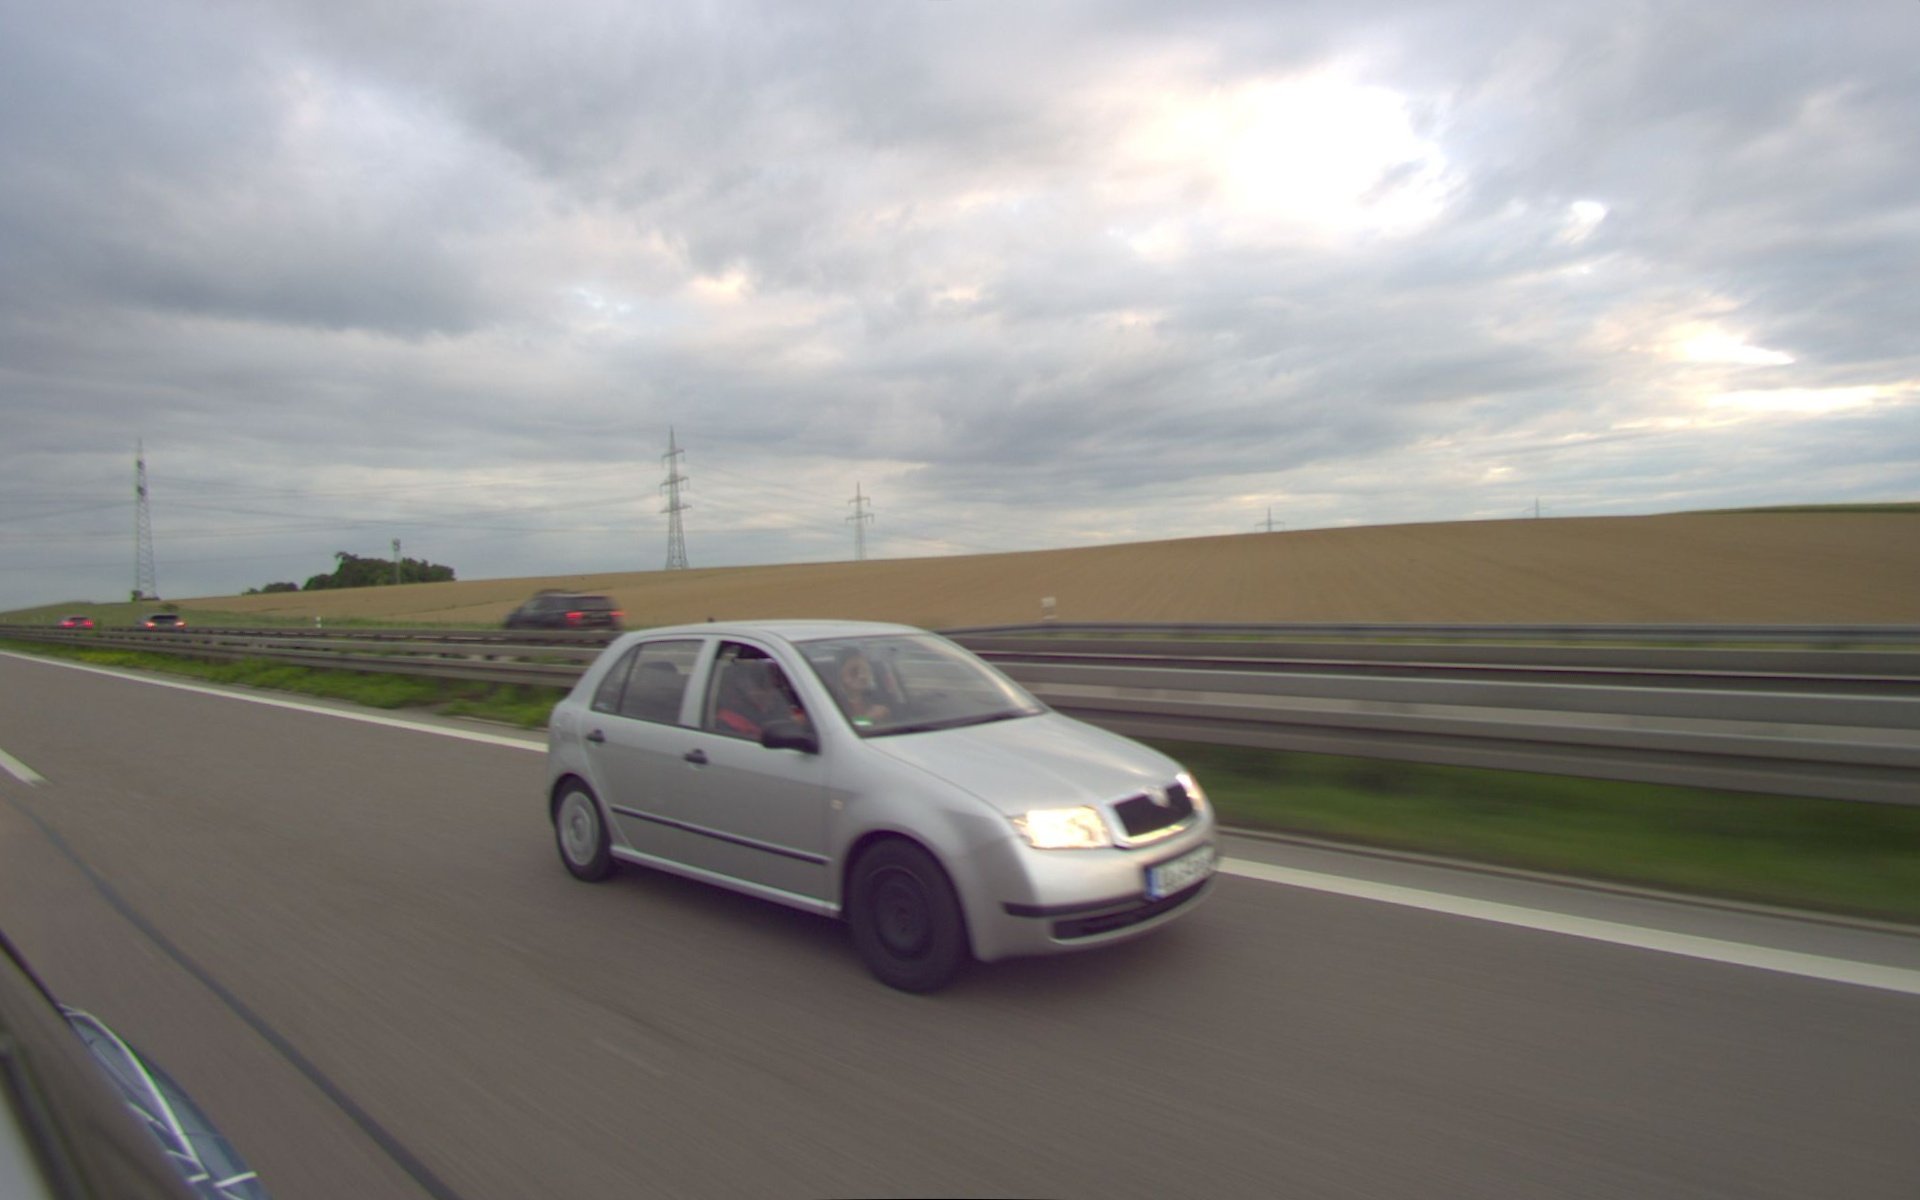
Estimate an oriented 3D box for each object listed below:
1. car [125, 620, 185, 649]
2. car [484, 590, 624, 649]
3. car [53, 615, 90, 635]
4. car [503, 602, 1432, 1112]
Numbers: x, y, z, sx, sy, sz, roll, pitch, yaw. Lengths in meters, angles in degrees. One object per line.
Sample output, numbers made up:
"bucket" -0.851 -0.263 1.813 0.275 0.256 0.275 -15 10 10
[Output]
"car" -43.981 1.888 55.236 4.125 1.451 1.644 -2 2 39
"car" -13.533 0.665 33.495 5.766 1.706 1.867 -2 2 42
"car" -68.735 1.921 78.279 4.618 1.375 1.550 -2 2 42
"car" -0.381 0.751 4.924 4.599 1.400 1.572 -1 0 41
